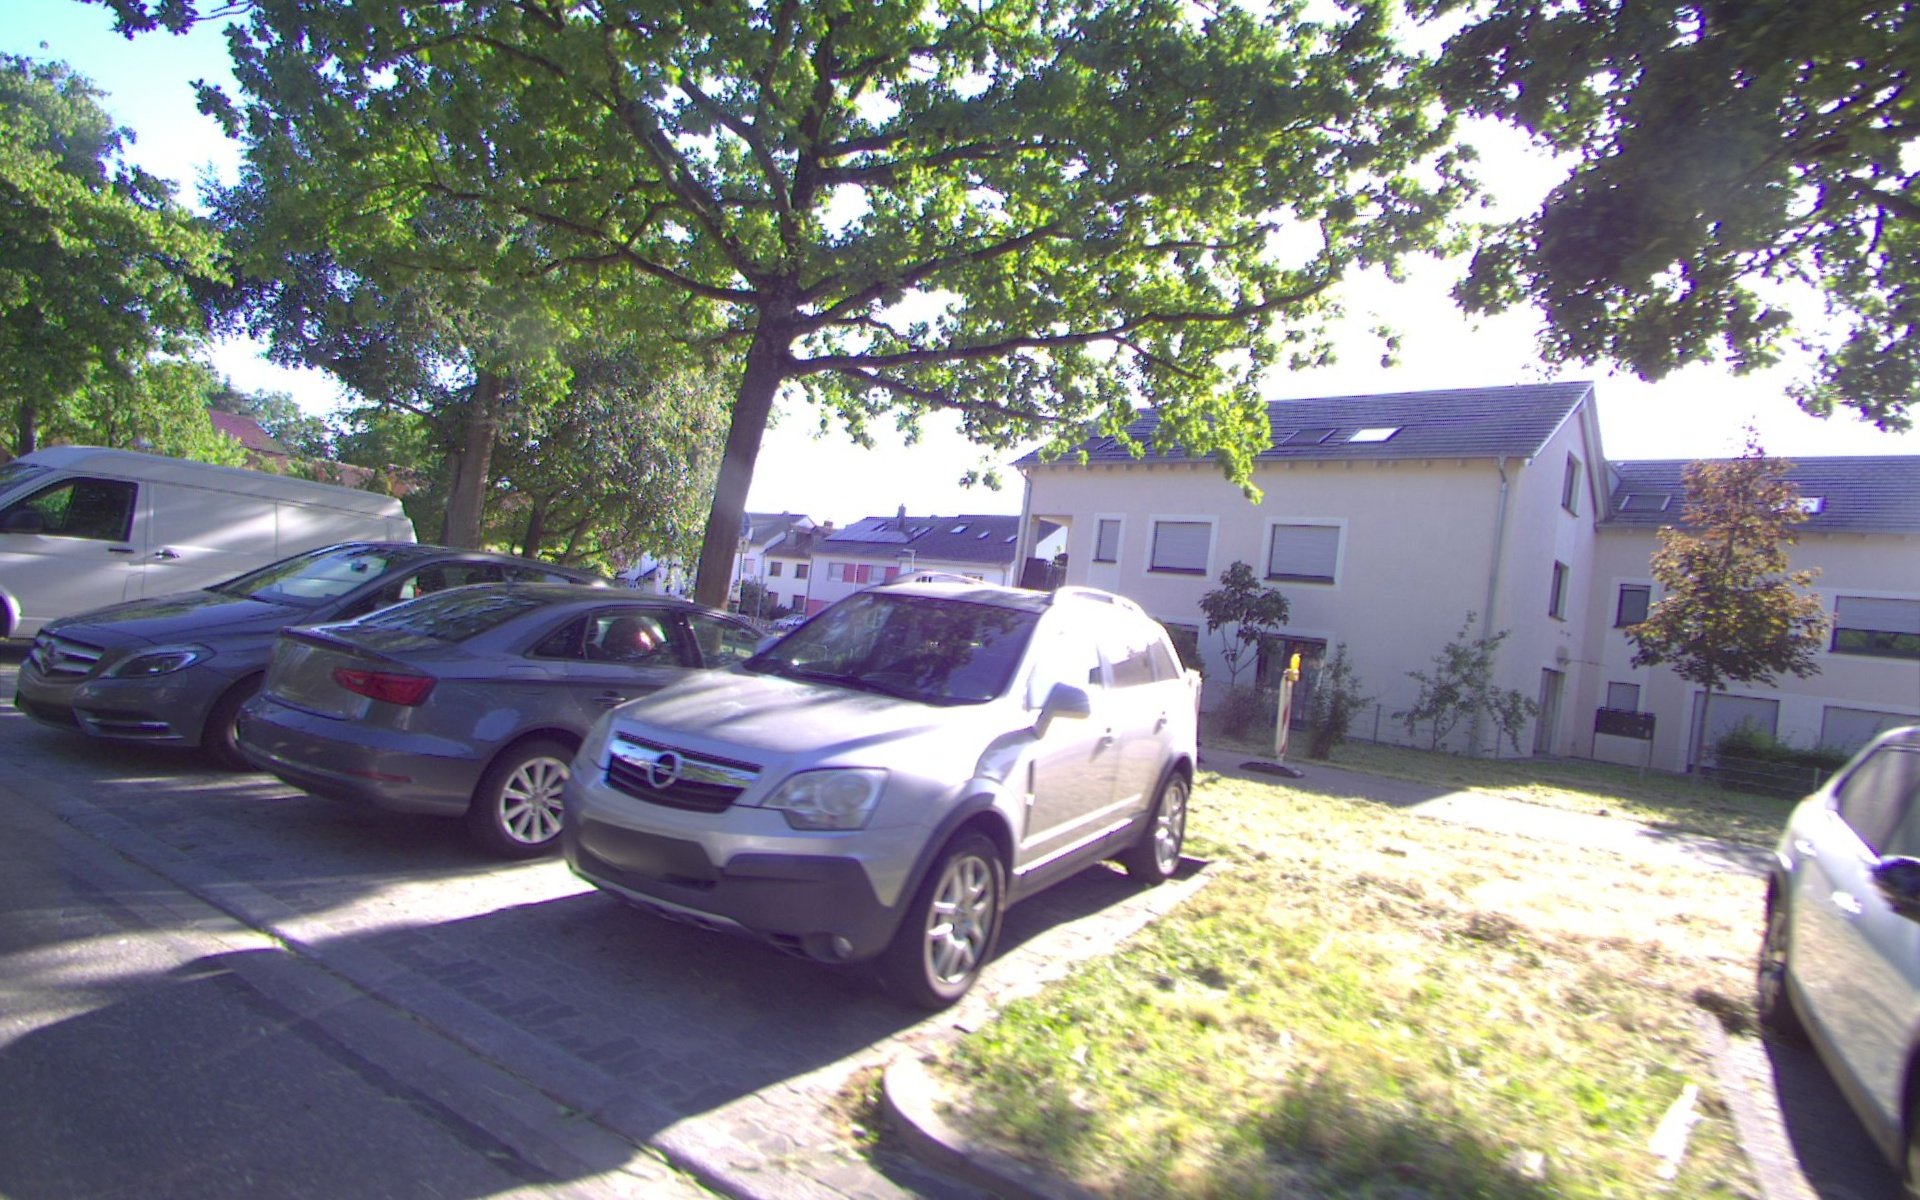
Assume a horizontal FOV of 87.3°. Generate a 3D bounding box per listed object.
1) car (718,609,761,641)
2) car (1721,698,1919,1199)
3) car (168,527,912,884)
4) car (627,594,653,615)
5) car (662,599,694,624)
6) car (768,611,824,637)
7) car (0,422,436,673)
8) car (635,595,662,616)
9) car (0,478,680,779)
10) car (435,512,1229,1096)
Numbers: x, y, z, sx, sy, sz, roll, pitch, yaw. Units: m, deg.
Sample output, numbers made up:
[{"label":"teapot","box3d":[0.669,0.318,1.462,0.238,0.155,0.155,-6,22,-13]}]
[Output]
[{"label":"car","box3d":[-13.532,1.500,61.584,1.716,1.573,3.447,8,-2,-25]},{"label":"car","box3d":[3.755,1.217,3.034,1.747,1.516,3.889,7,0,31]},{"label":"car","box3d":[-2.294,0.603,6.524,1.870,1.450,3.992,7,-2,33]},{"label":"car","box3d":[-29.985,0.415,94.152,1.716,1.573,3.447,8,-2,-25]},{"label":"car","box3d":[-21.952,0.868,78.273,1.716,1.573,3.447,8,-2,-25]},{"label":"car","box3d":[-13.404,1.978,82.472,3.978,1.592,1.976,10,-3,-44]},{"label":"car","box3d":[-8.690,-0.474,10.586,2.047,2.130,5.197,6,-1,30]},{"label":"car","box3d":[-27.396,0.484,88.420,1.716,1.573,3.447,8,-2,-25]},{"label":"car","box3d":[-4.497,0.303,7.809,1.901,1.586,4.223,7,-2,30]},{"label":"car","box3d":[-0.118,0.707,5.389,1.819,1.671,4.390,7,0,30]}]
